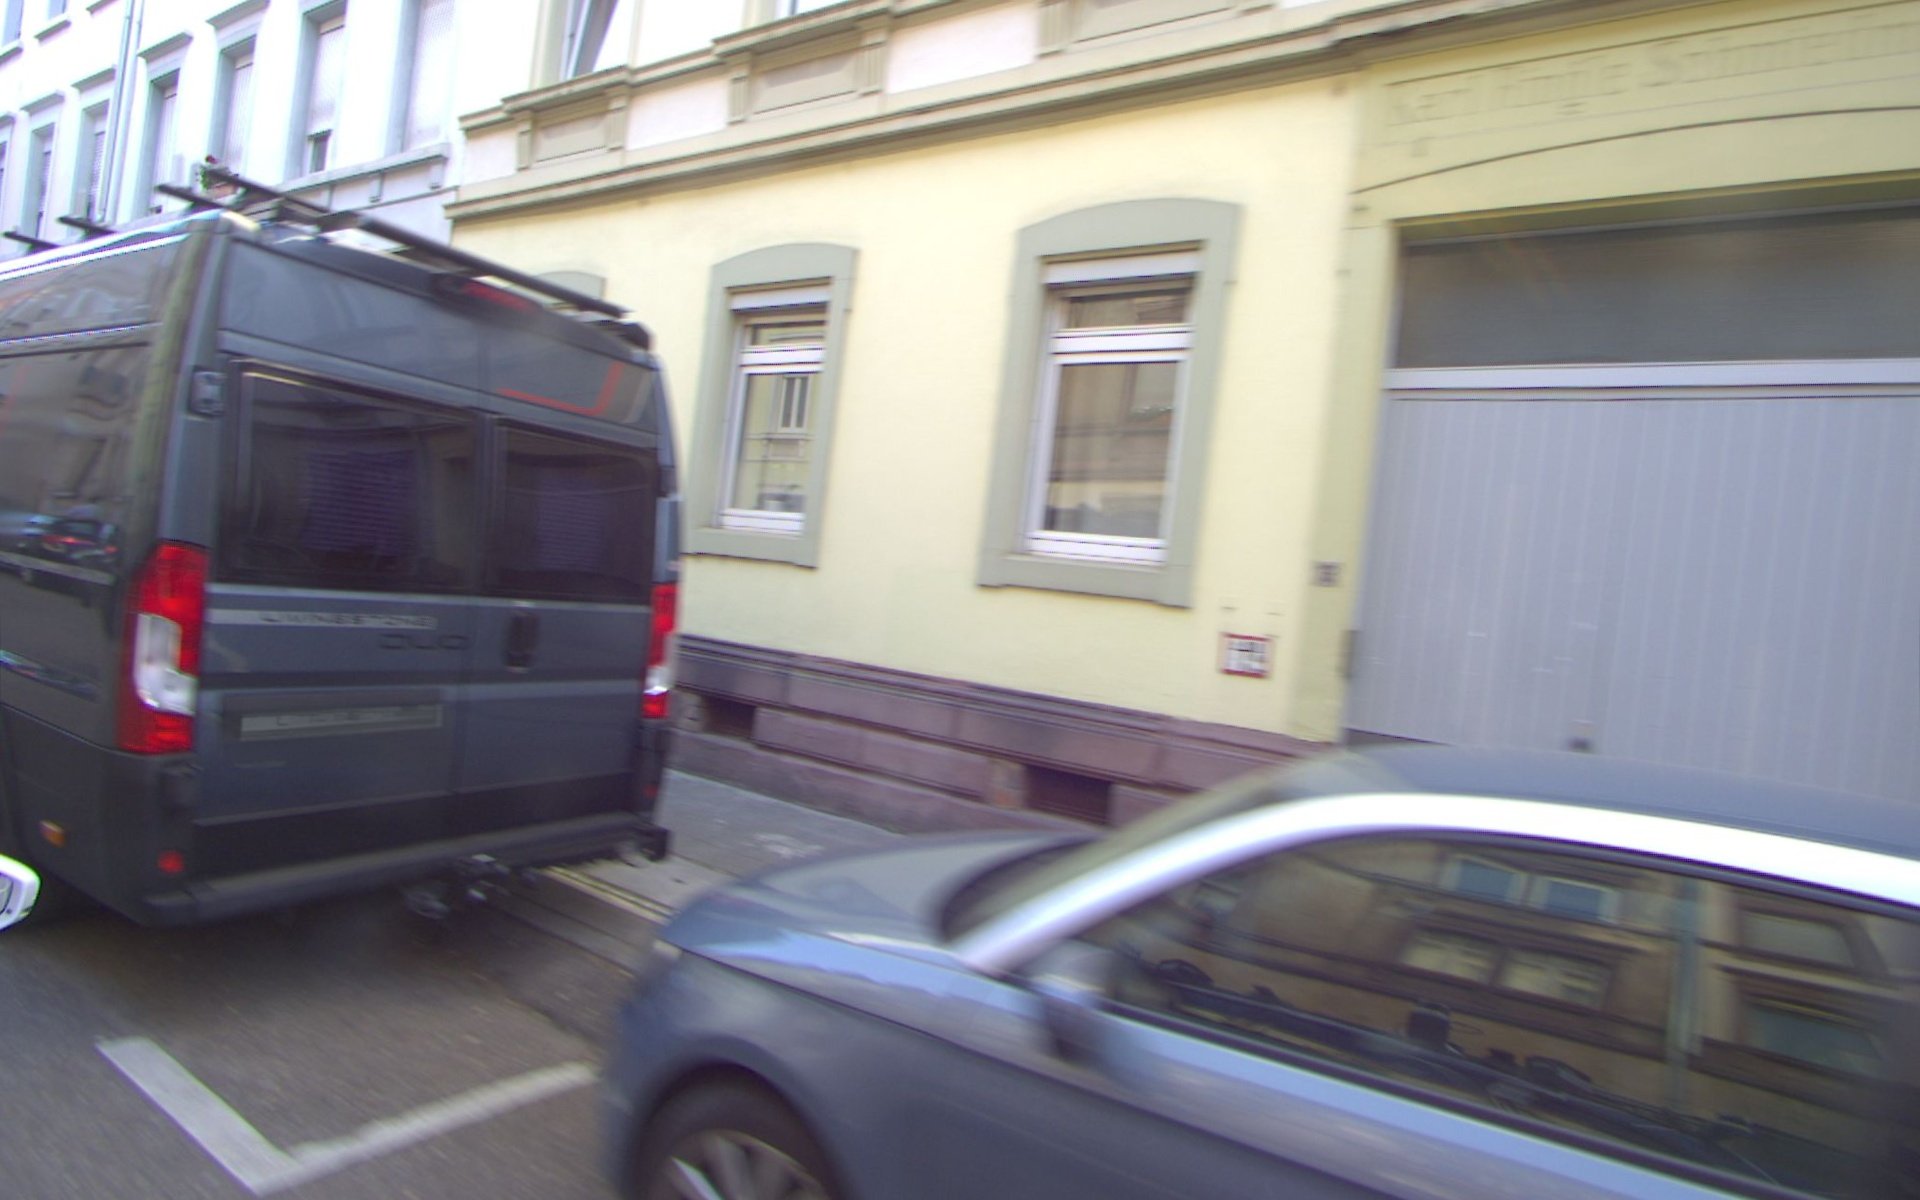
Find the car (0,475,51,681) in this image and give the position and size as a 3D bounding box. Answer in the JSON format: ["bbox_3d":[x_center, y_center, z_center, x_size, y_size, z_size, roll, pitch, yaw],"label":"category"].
[{"bbox_3d":[-9.681,-0.407,8.579,4.302,1.629,1.694,7,1,32],"label":"car"}]

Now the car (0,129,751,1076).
[{"bbox_3d":[-4.224,-0.224,5.166,6.205,2.456,2.177,7,1,32],"label":"car"}]

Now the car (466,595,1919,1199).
[{"bbox_3d":[1.141,0.996,1.901,4.103,1.461,1.750,7,-1,32],"label":"car"}]
